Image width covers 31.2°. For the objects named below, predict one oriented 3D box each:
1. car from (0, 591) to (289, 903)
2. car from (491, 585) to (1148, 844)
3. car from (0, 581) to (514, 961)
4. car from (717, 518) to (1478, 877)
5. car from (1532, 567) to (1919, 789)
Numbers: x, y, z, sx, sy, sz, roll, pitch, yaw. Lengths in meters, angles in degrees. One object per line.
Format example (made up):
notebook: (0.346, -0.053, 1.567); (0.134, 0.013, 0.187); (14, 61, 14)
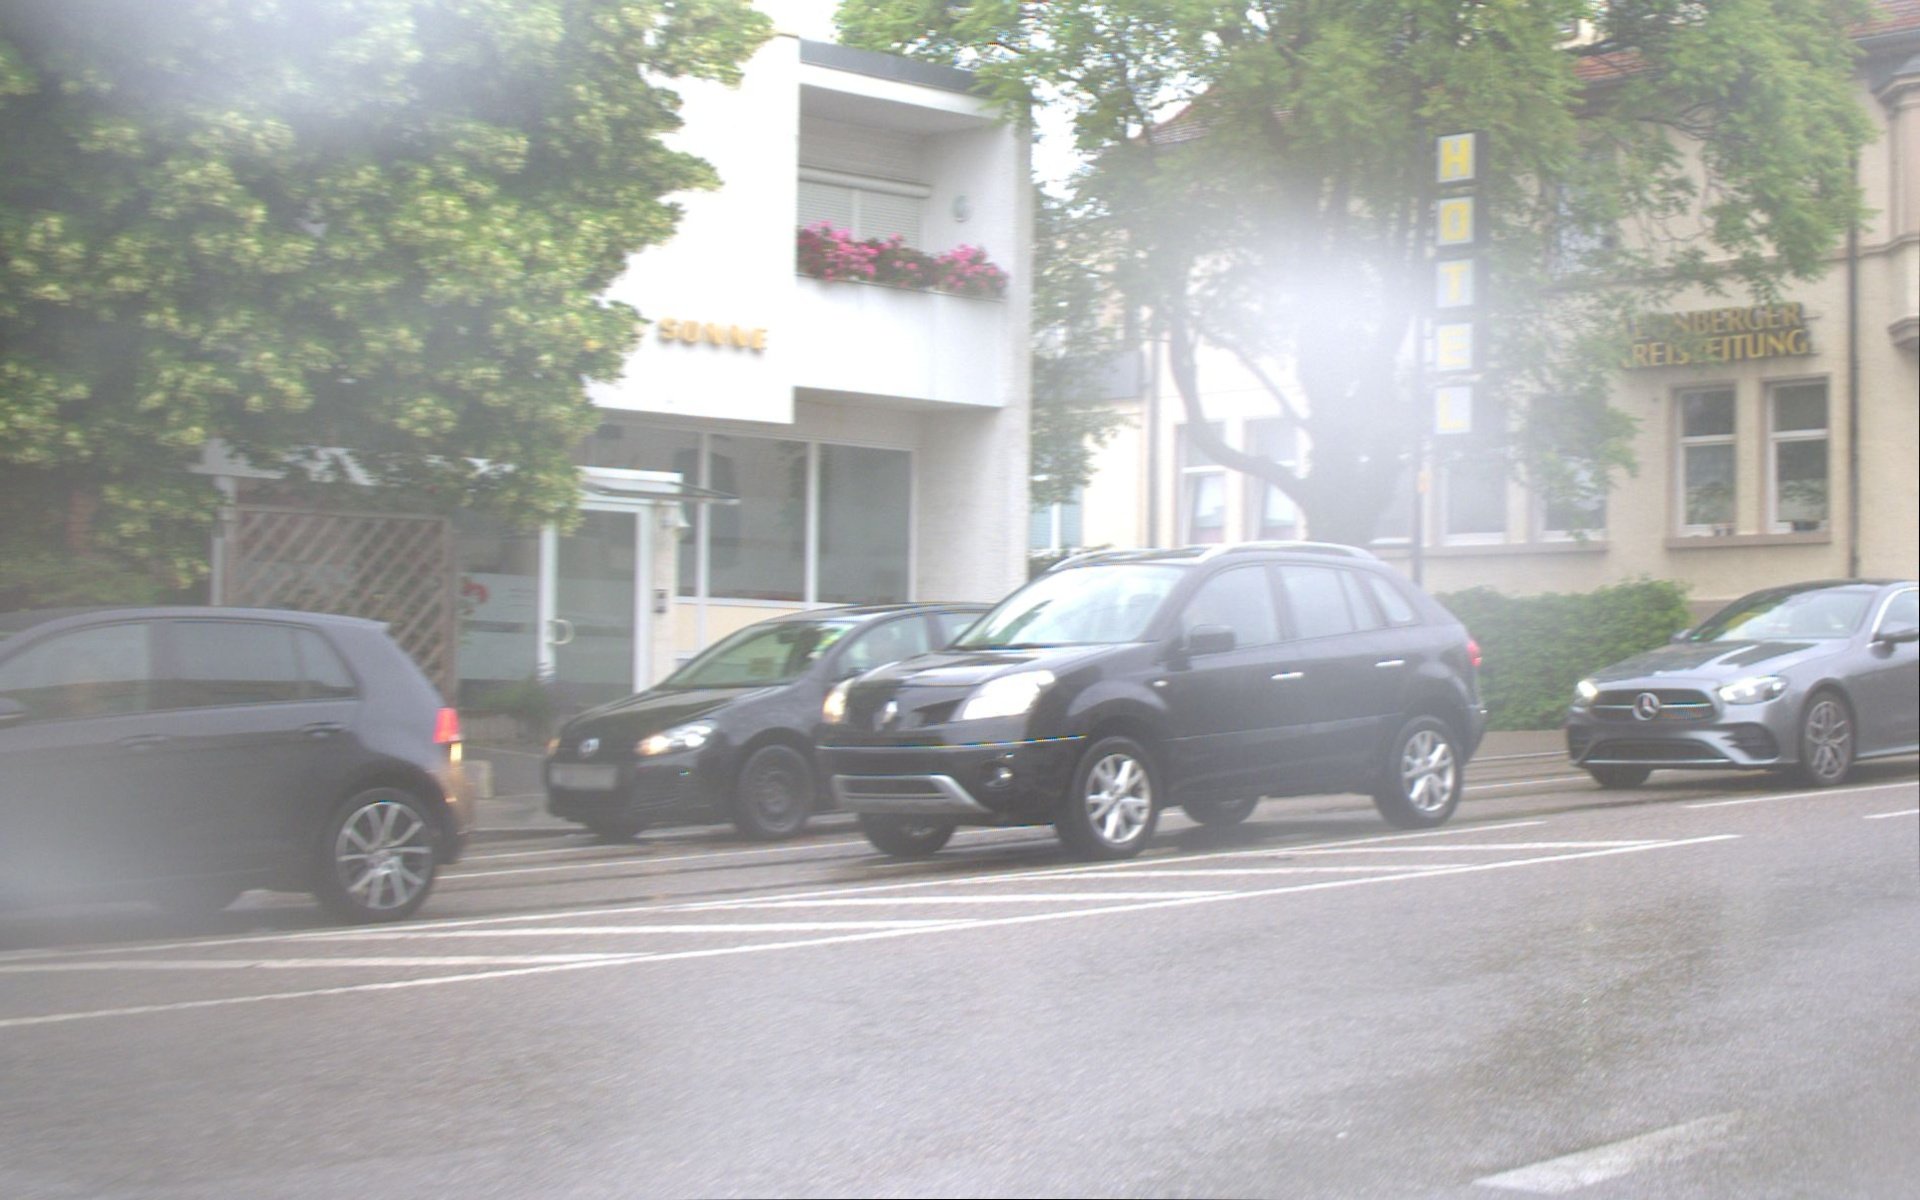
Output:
car: (-5.661, 0.770, 17.239); (4.175, 1.513, 1.777); (-1, -1, -44)
car: (-0.852, 0.713, 22.731); (4.175, 1.513, 1.777); (-1, -1, -44)
car: (-4.188, 0.725, 14.722); (1.777, 1.499, 4.305); (-3, -1, 44)
car: (0.872, 0.492, 19.459); (4.304, 1.809, 1.777); (-1, -1, -44)
car: (6.240, 0.526, 24.868); (4.527, 1.447, 1.777); (-1, -1, -44)
